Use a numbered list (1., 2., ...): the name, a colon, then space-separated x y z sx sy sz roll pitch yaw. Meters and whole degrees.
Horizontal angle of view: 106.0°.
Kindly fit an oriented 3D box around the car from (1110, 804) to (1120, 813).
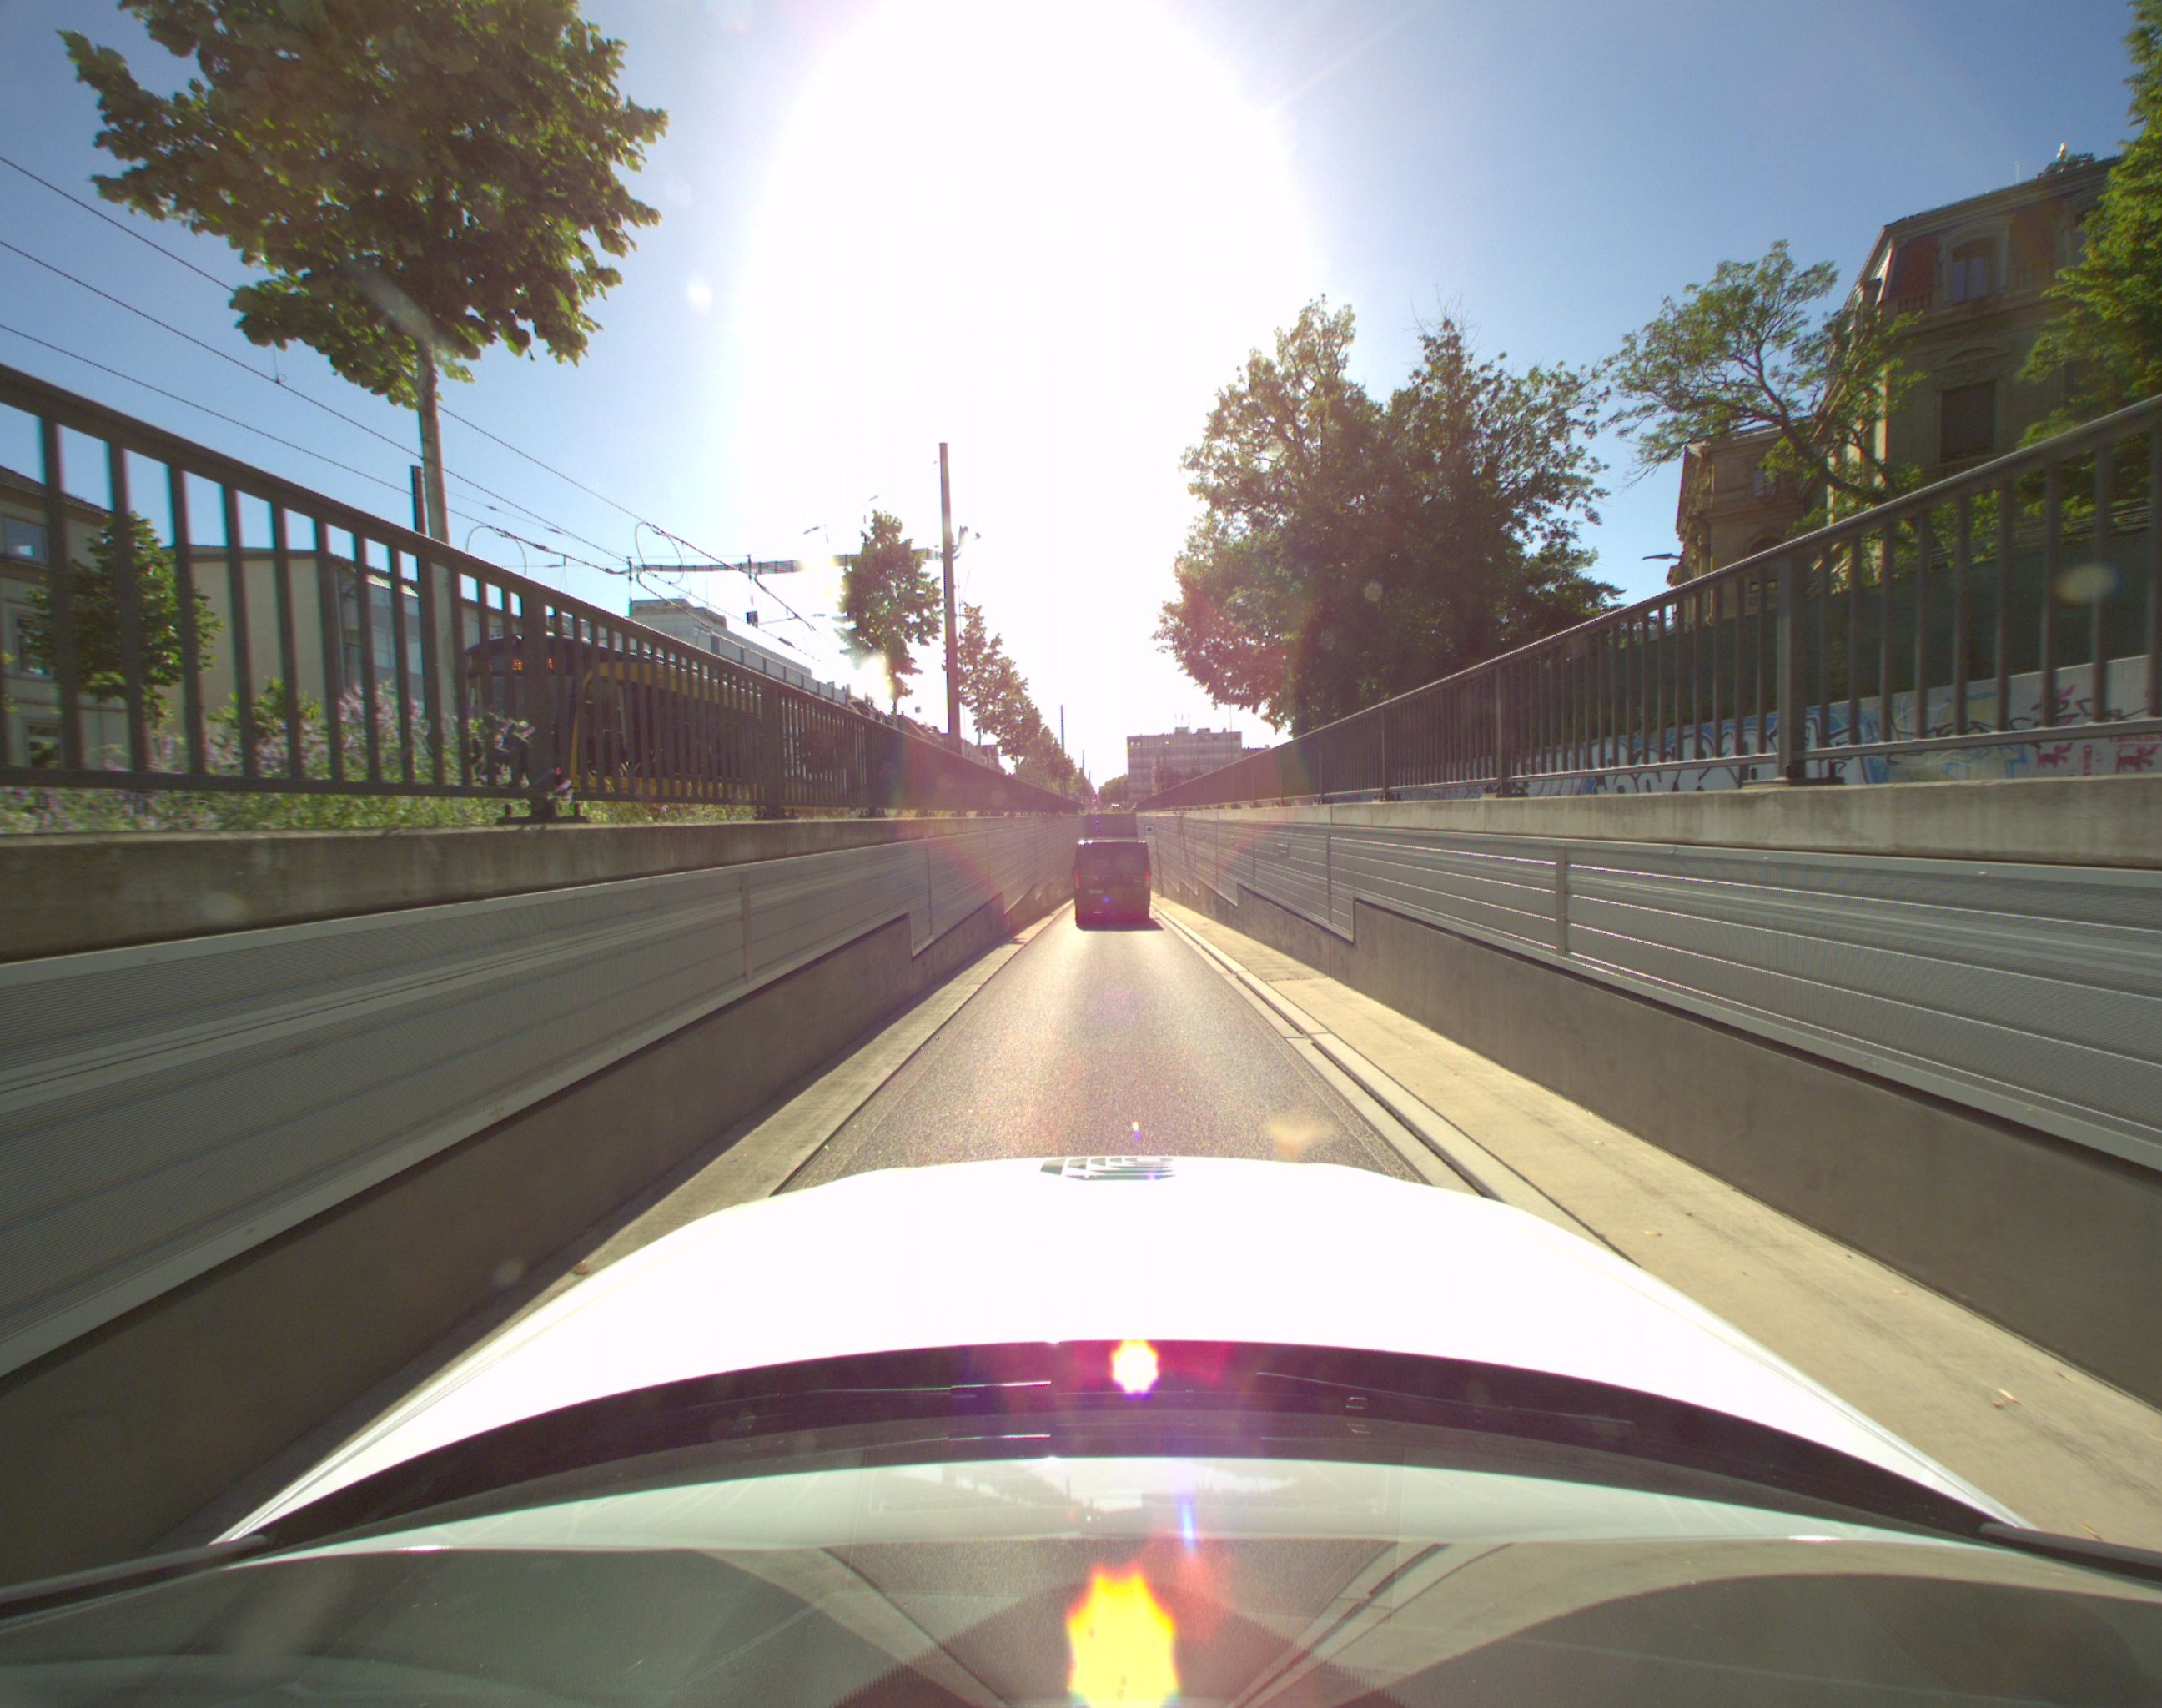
1. car: 6.237 -8.359 150.703 1.734 1.561 4.001 -2 3 1

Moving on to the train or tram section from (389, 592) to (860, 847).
1. train or tram section: -8.386 -2.187 18.417 2.600 3.655 13.352 0 2 2

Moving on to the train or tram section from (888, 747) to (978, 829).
1. train or tram section: -7.569 -3.276 43.106 2.602 3.853 9.977 0 2 2

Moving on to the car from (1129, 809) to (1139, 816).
1. car: 10.409 -8.160 159.656 1.734 1.421 4.001 -2 3 1

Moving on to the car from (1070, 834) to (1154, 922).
1. car: 0.913 0.678 23.452 2.150 2.266 4.639 -1 -2 3

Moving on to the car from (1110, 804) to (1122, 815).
1. car: 5.229 -6.763 122.823 1.734 1.561 4.001 -2 3 1

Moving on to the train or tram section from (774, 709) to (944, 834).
1. train or tram section: -7.921 -2.787 31.575 2.601 3.820 13.099 0 2 2
